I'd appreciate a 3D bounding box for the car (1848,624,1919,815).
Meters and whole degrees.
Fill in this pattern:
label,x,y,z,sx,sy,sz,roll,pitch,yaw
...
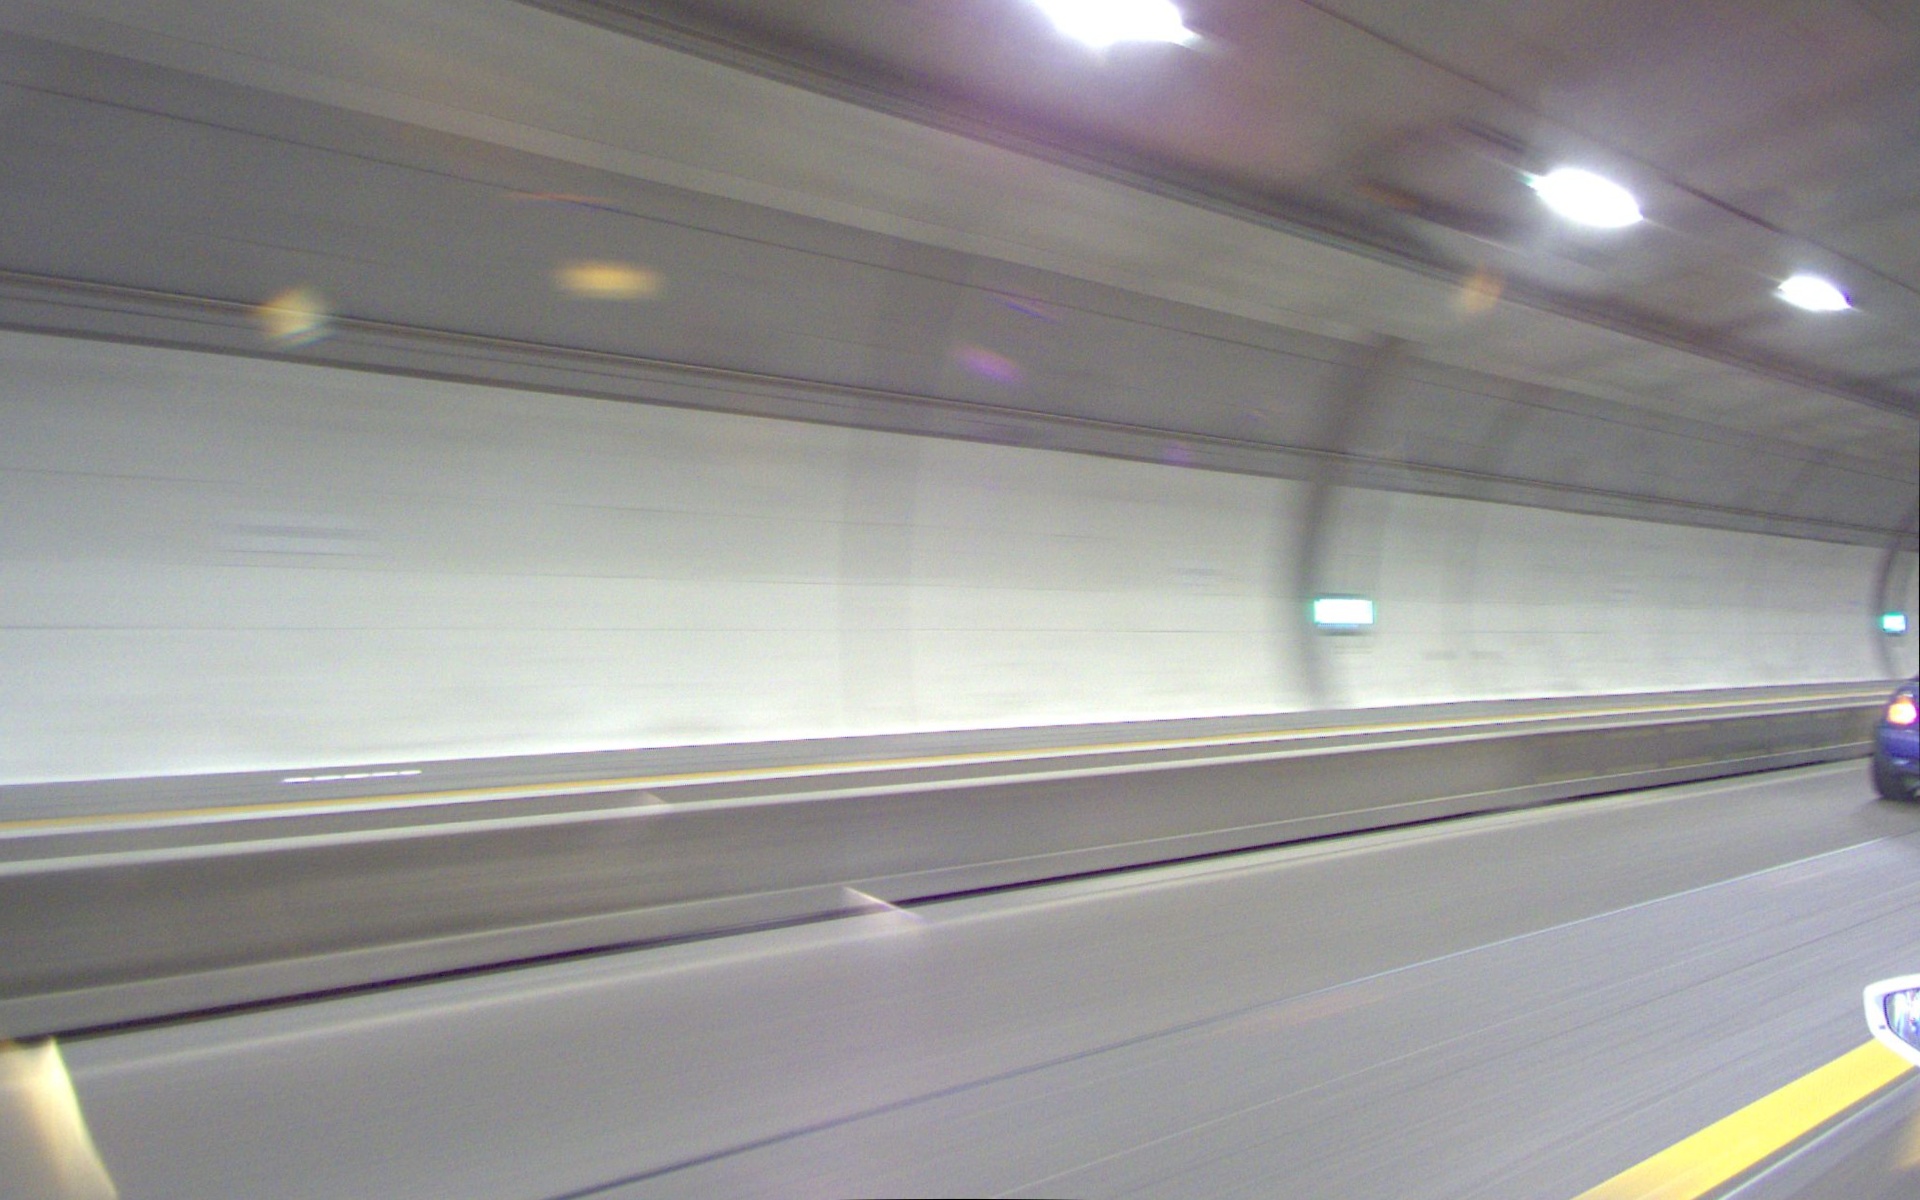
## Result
label,x,y,z,sx,sy,sz,roll,pitch,yaw
car,9.169,0.959,8.283,3.878,1.436,1.680,1,0,-31
